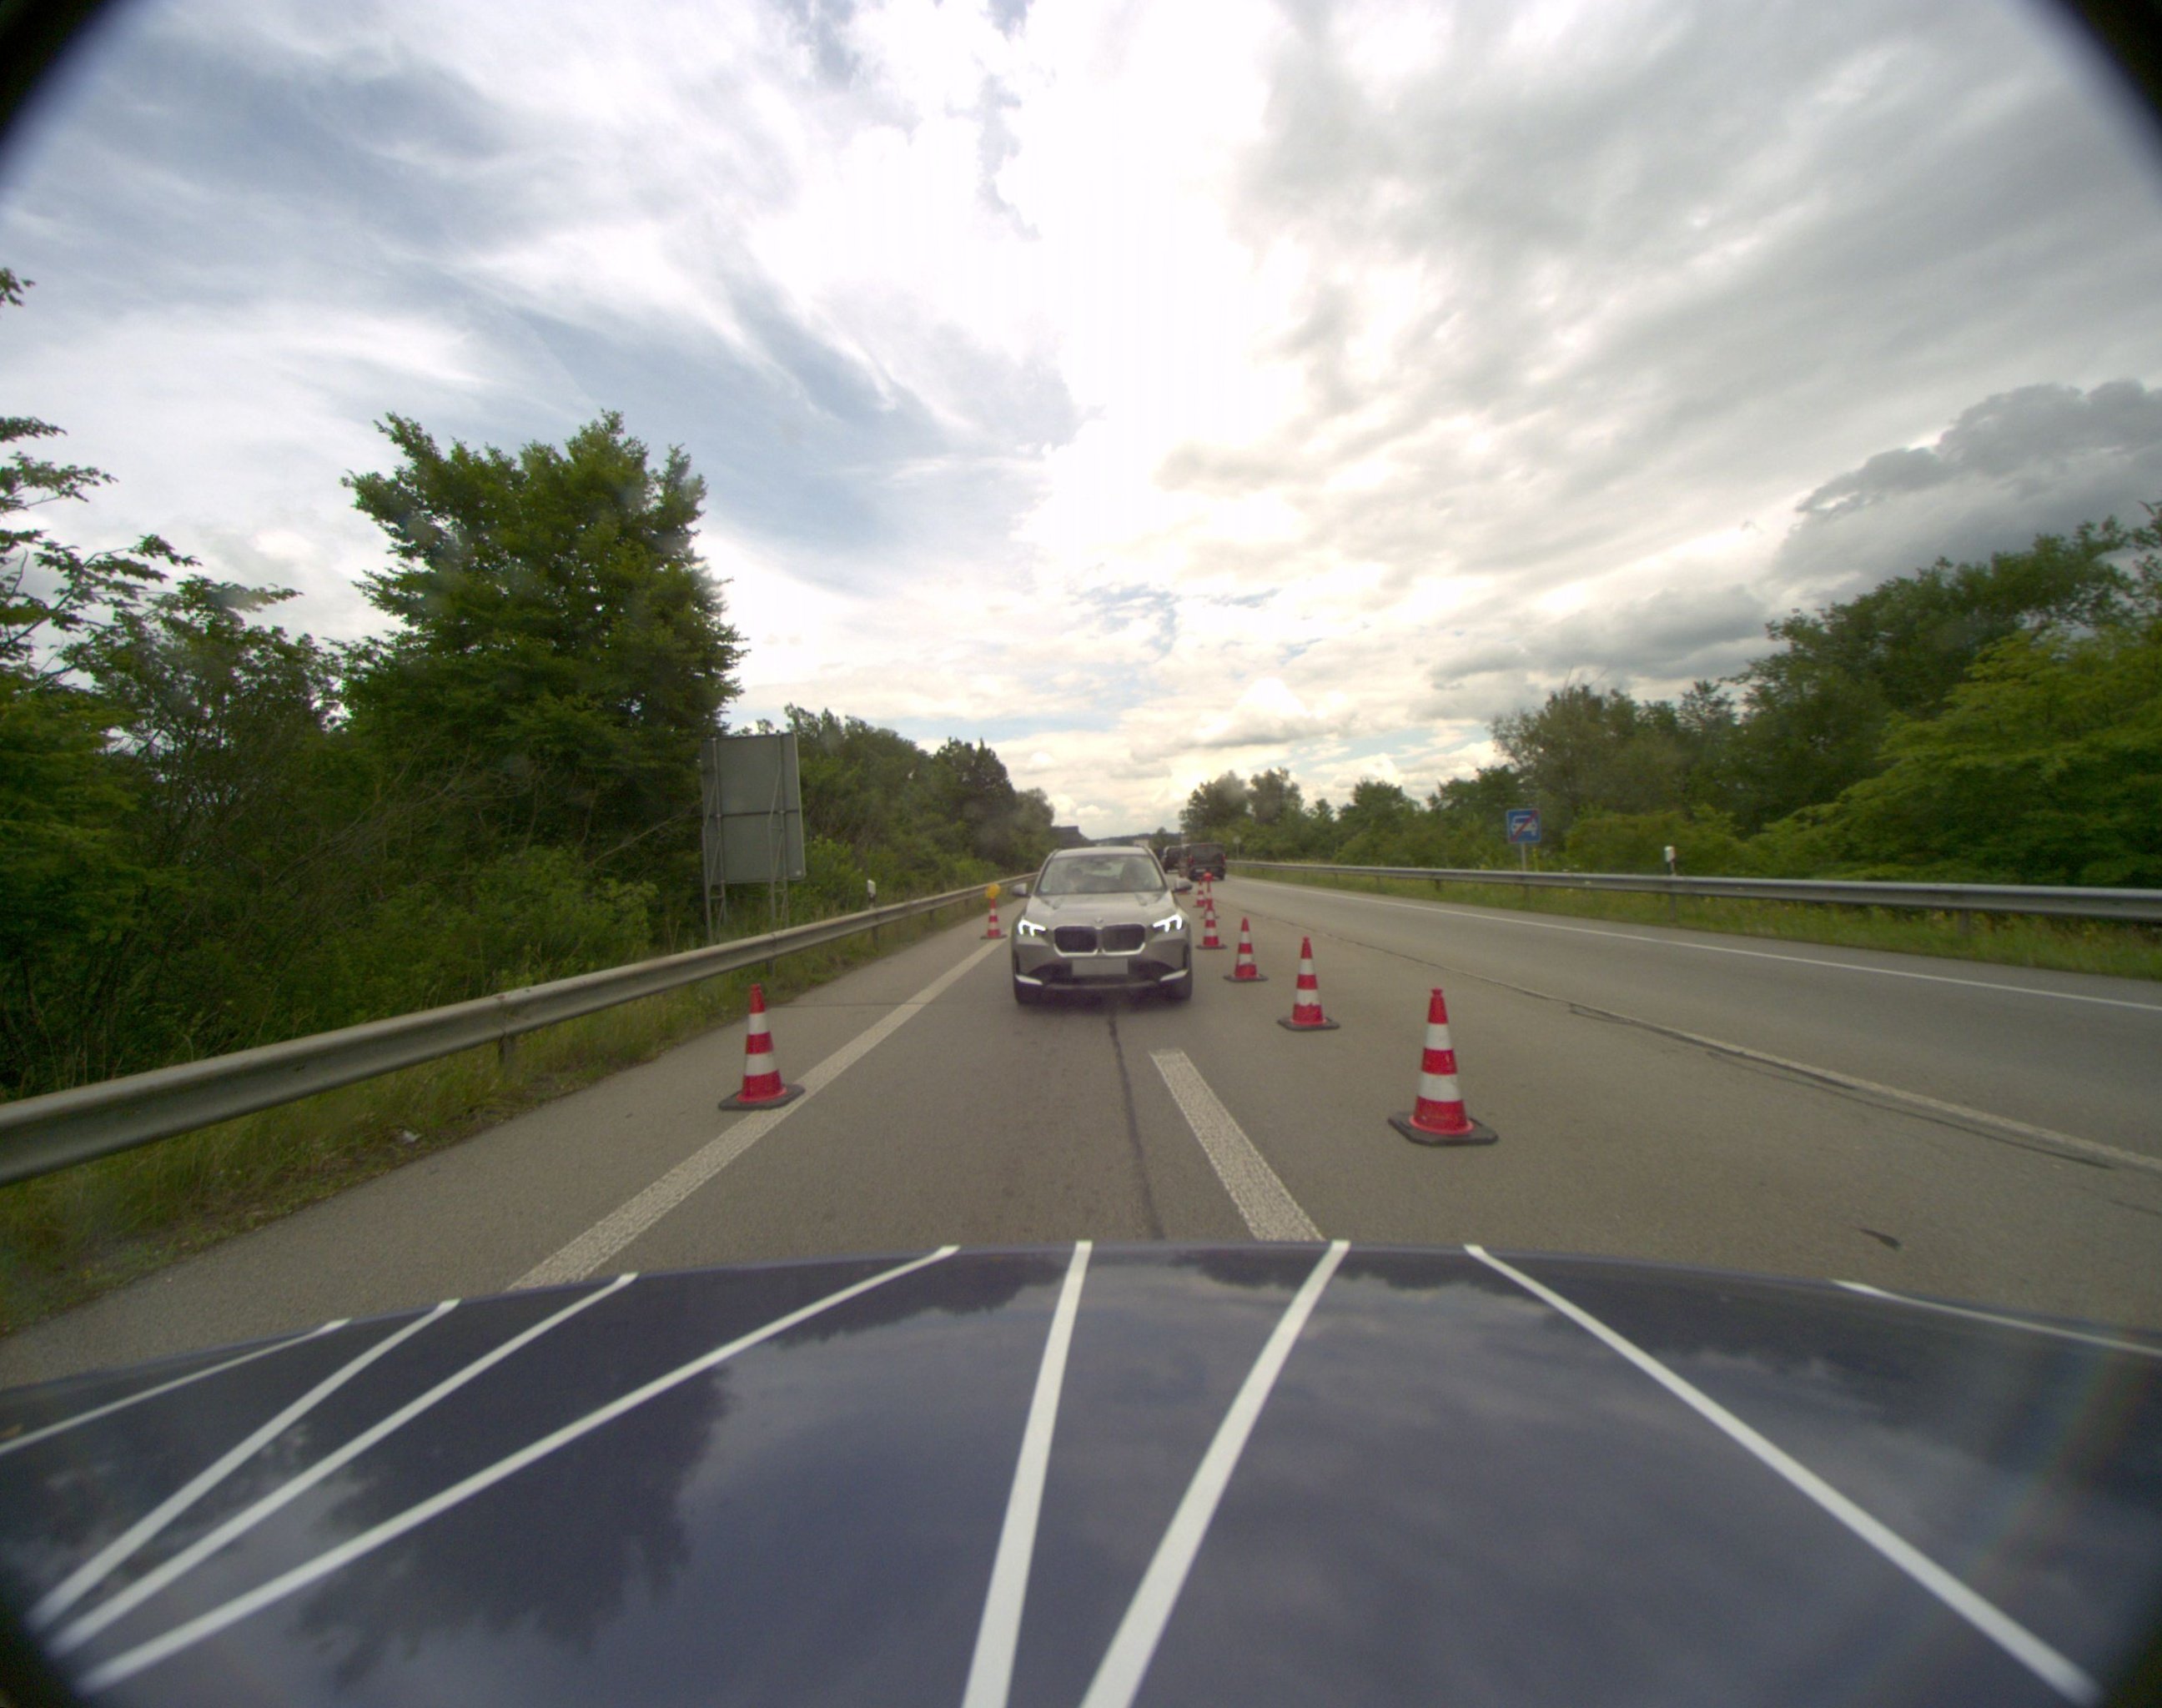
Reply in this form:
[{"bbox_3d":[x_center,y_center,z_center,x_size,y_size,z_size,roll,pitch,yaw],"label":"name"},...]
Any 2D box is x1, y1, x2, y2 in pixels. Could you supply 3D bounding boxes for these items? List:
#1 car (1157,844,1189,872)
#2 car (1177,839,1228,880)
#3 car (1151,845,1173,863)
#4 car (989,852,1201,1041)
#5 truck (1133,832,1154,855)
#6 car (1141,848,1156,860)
[{"bbox_3d":[6.622,0.253,54.999,1.971,1.873,4.533,-2,0,3],"label":"car"},{"bbox_3d":[6.352,0.263,40.272,2.034,1.976,5.316,-2,0,3],"label":"car"},{"bbox_3d":[8.419,-0.012,79.199,1.929,1.820,4.533,-2,0,3],"label":"car"},{"bbox_3d":[0.219,0.817,8.923,1.817,1.598,4.433,-2,0,3],"label":"car"},{"bbox_3d":[10.781,-1.781,132.291,3.113,3.682,9.544,-2,0,2],"label":"truck"},{"bbox_3d":[9.543,-0.023,107.253,1.929,1.597,4.533,-2,0,3],"label":"car"}]
